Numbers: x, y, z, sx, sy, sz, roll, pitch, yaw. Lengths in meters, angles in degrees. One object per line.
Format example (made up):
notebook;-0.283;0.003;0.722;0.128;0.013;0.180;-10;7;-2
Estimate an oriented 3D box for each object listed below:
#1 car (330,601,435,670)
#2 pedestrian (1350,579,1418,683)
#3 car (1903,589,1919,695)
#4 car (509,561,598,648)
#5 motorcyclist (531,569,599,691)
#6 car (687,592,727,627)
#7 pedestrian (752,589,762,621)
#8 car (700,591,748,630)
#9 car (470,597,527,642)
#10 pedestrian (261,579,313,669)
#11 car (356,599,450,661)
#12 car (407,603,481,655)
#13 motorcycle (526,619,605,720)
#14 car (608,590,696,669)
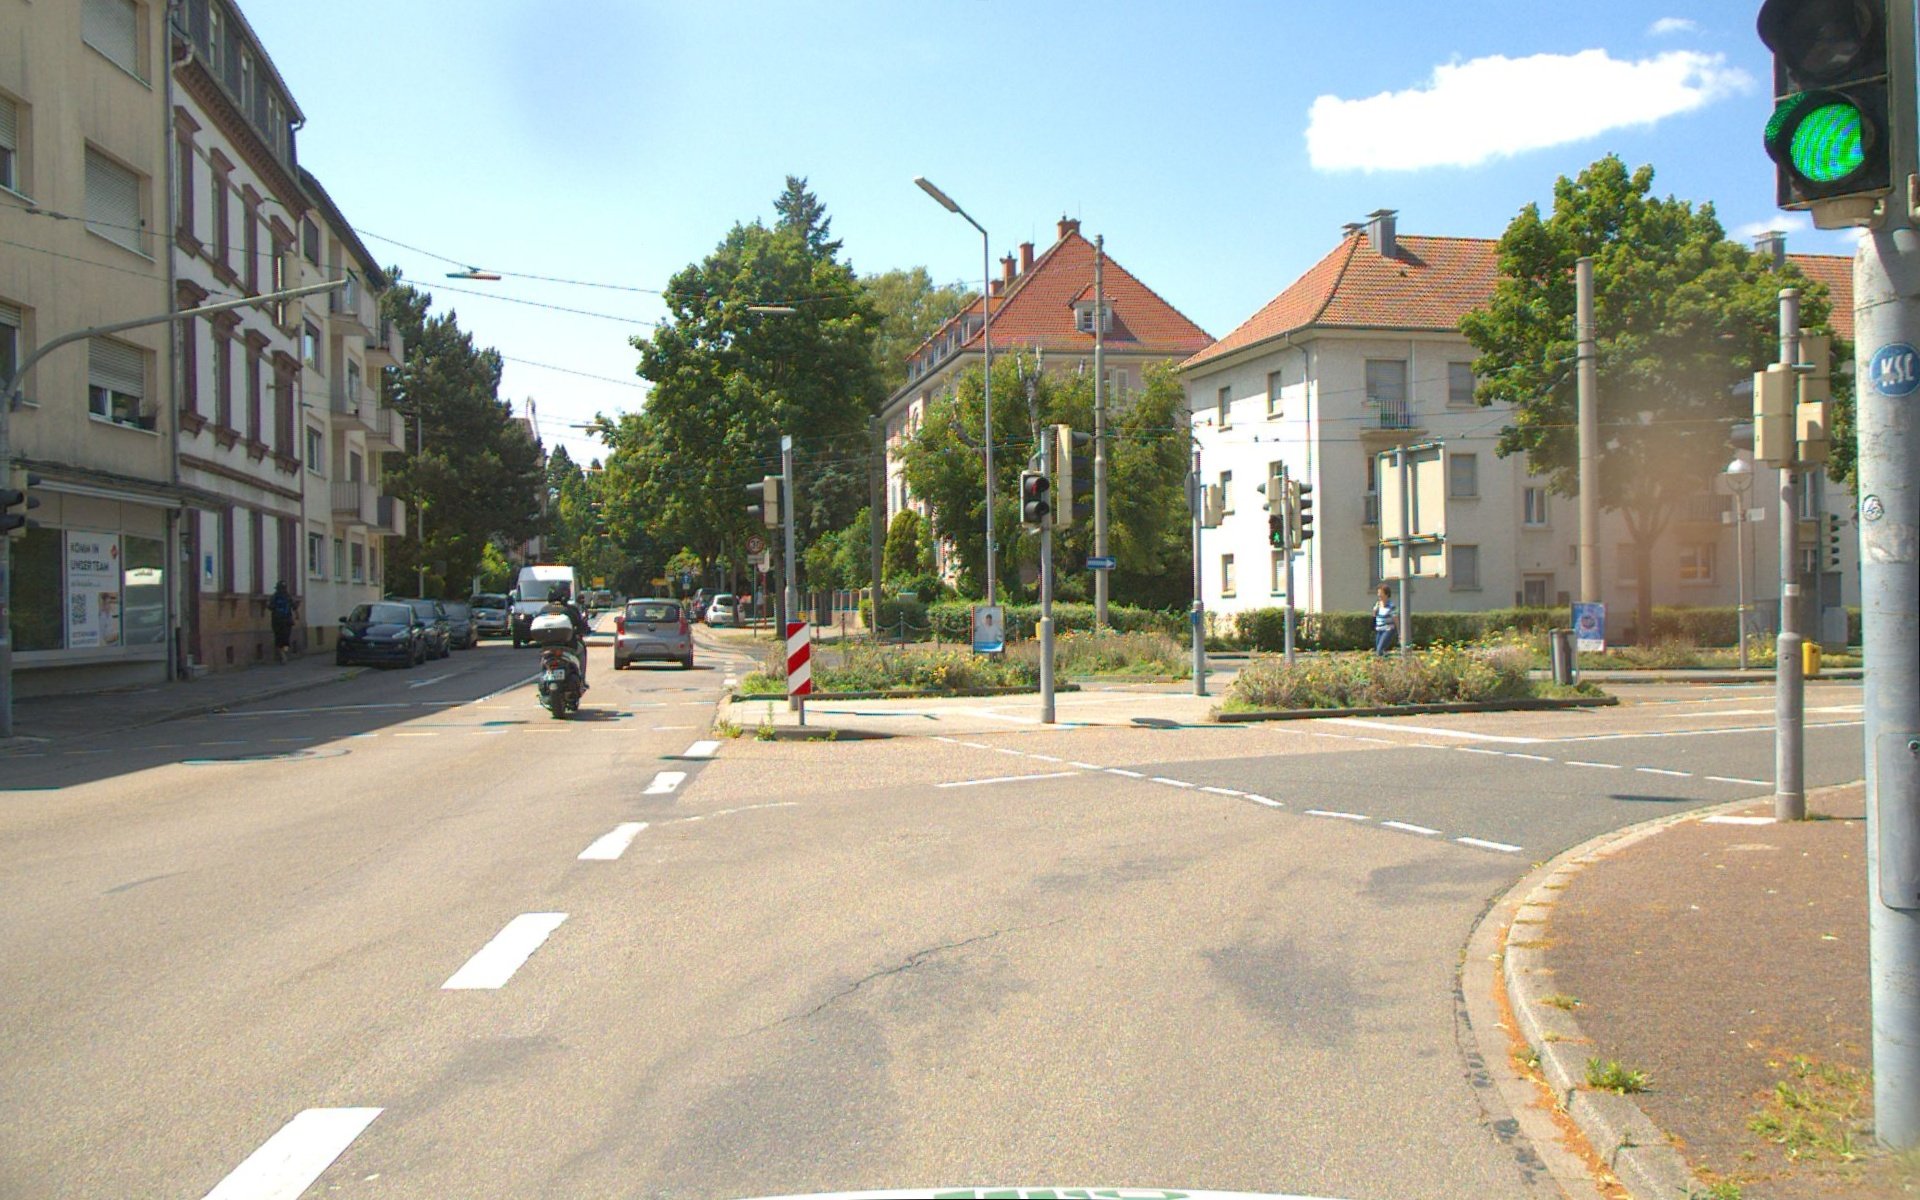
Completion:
car;-13.626;0.831;39.197;1.960;1.546;3.985;0;-1;-14
pedestrian;7.210;0.516;28.156;0.826;1.735;0.755;0;0;-28
car;15.998;0.576;24.053;4.361;1.526;1.981;-1;0;-28
car;-13.324;0.153;54.657;2.176;2.544;7.536;-4;0;-10
motorcyclist;-4.887;0.356;20.514;0.697;1.471;1.018;0;0;-7
car;-14.203;0.526;92.743;1.959;1.940;3.987;0;0;-13
pedestrian;-10.675;0.260;86.874;0.499;1.685;0.465;0;0;-8
car;-11.367;0.469;79.607;1.959;1.839;3.987;0;0;-13
car;-19.084;0.775;68.581;1.766;1.747;4.028;2;0;-9
pedestrian;-15.022;0.536;36.945;0.919;1.965;0.974;-1;0;-13
car;-14.689;0.787;43.812;1.959;1.546;3.986;0;-1;-13
car;-16.300;0.890;52.413;1.959;1.536;3.986;-1;0;-13
motorcycle;-4.895;0.831;20.611;0.697;1.154;2.194;0;0;-7
car;-6.681;0.602;35.864;1.766;1.585;4.027;-1;0;-11
